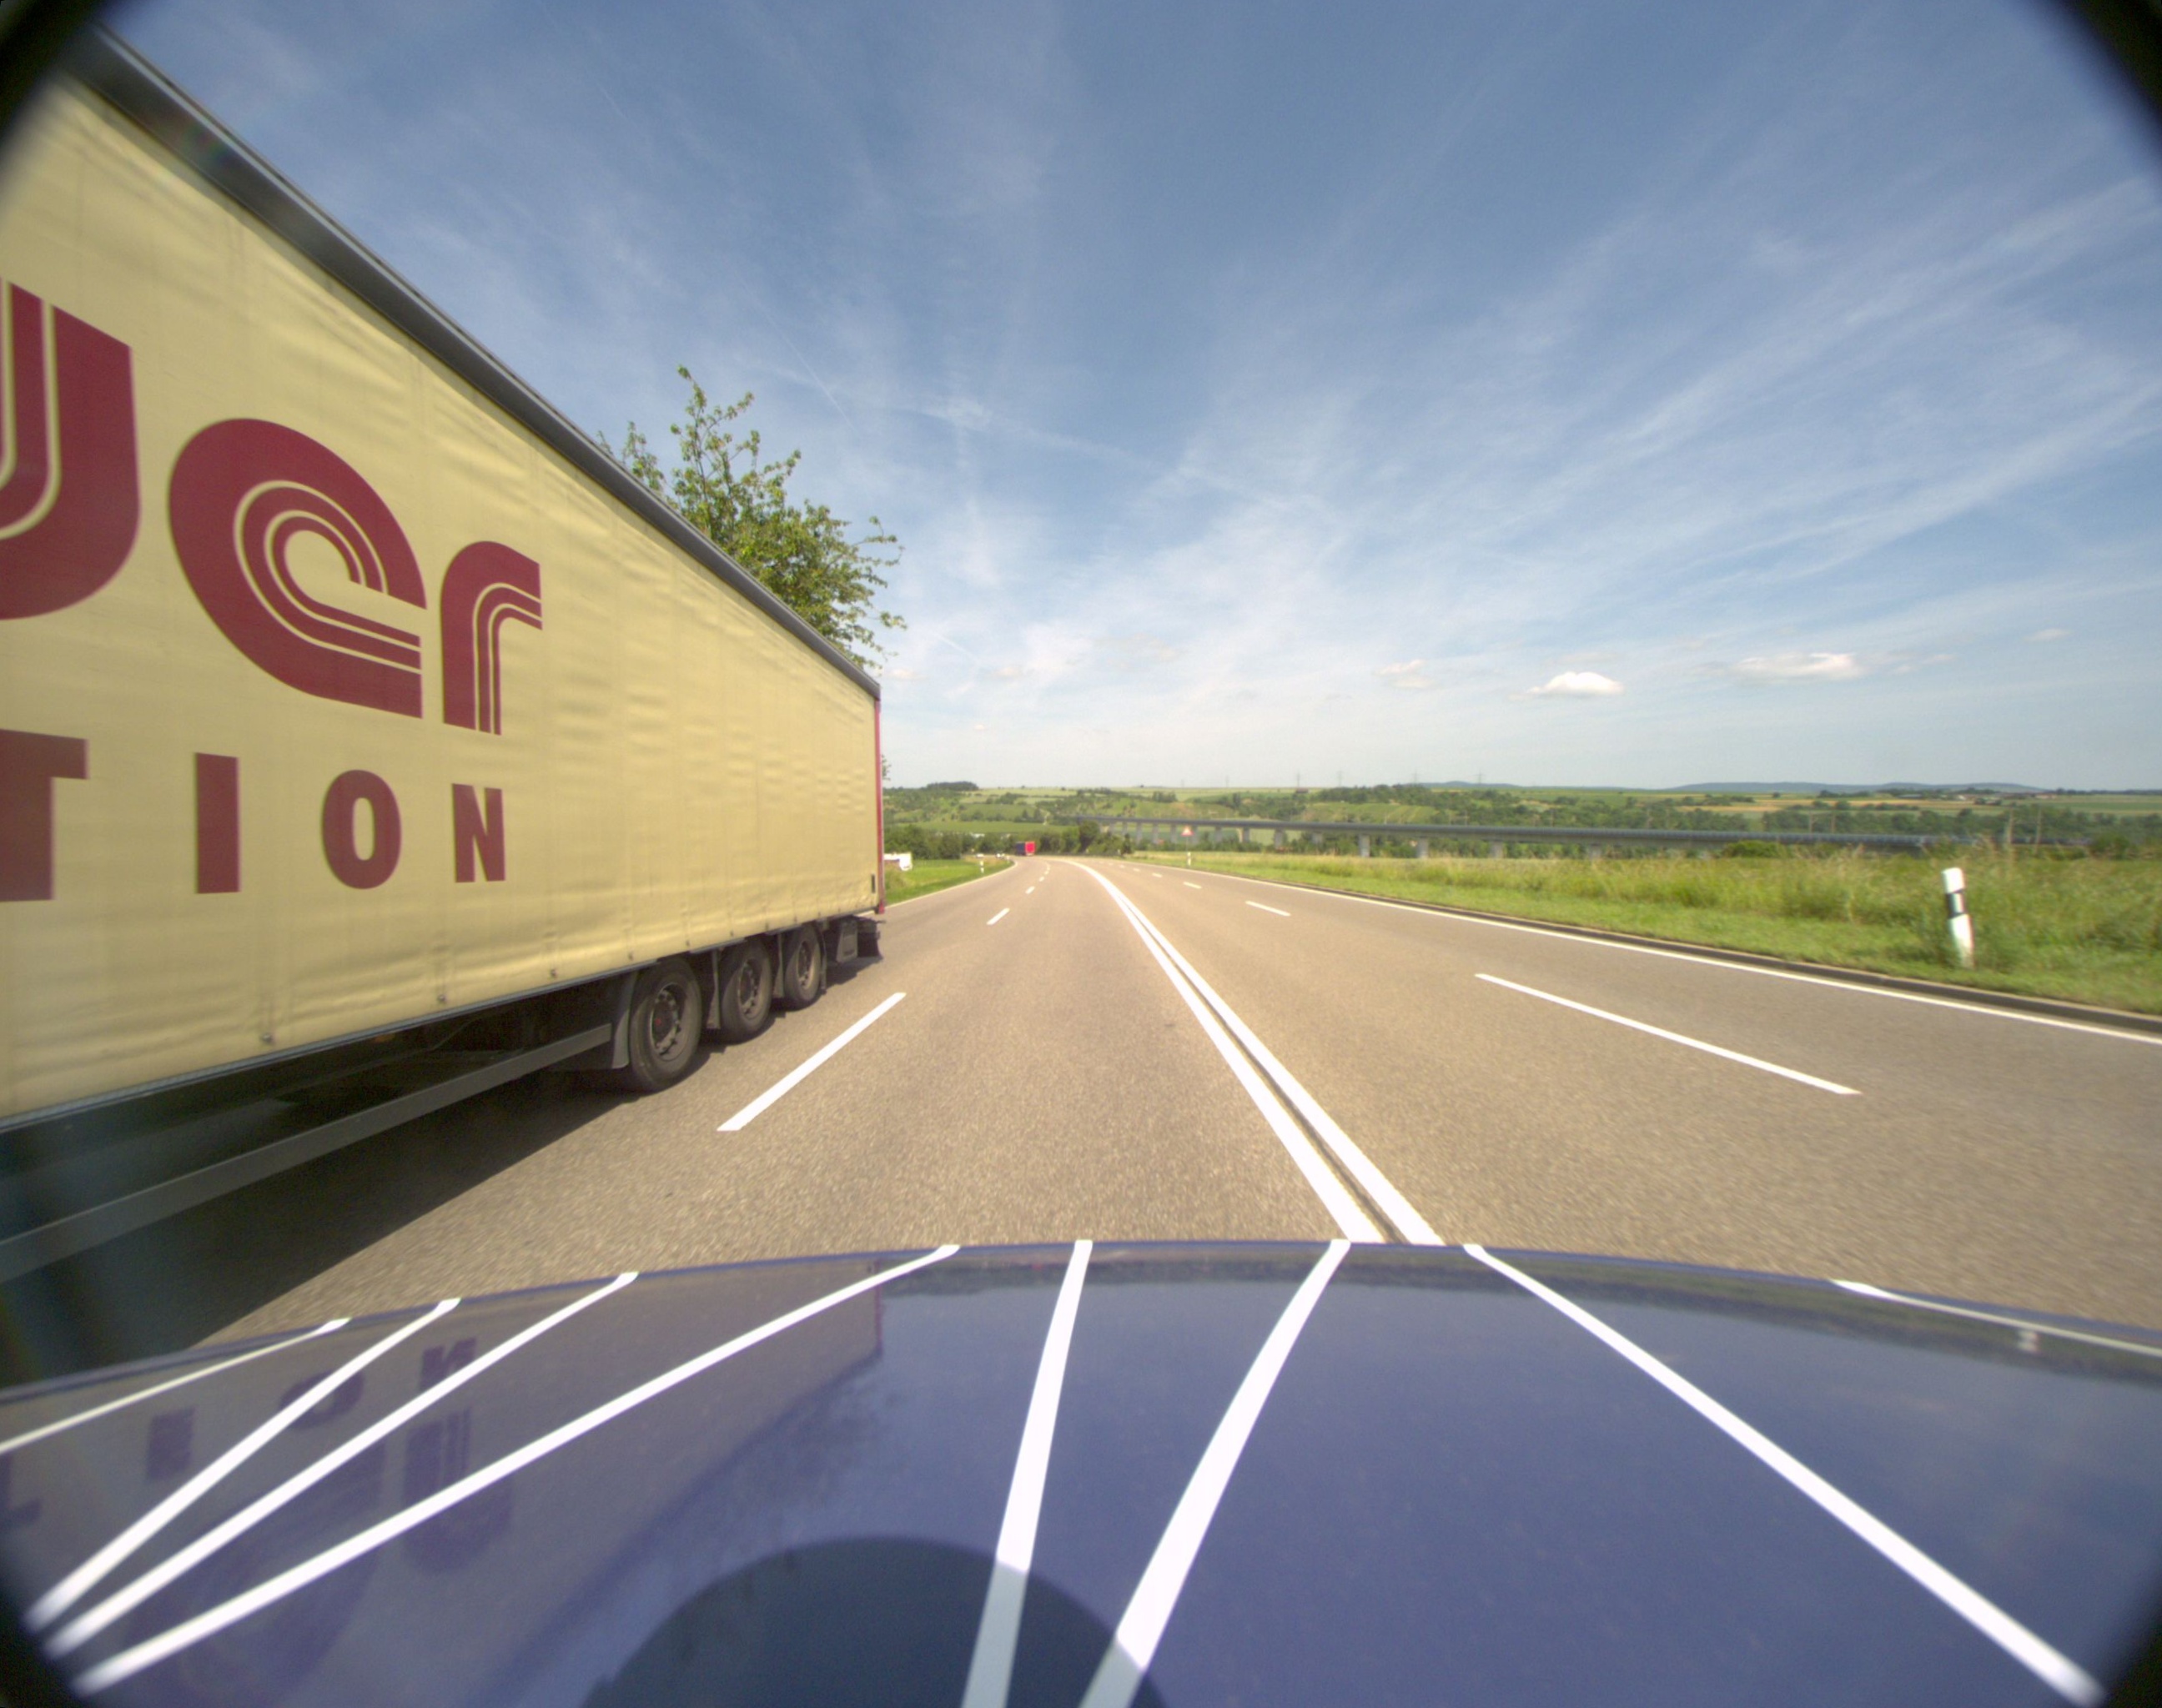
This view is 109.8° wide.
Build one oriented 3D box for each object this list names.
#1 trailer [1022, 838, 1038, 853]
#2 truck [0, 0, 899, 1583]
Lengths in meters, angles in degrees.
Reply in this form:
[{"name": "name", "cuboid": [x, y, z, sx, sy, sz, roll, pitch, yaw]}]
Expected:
[{"name": "trailer", "cuboid": [-14.844, -2.521, 220.044, 2.554, 4.078, 13.566, -1, 1, -13]}, {"name": "truck", "cuboid": [-4.163, -0.281, 2.204, 3.014, 4.156, 16.712, -2, 1, 0]}]
